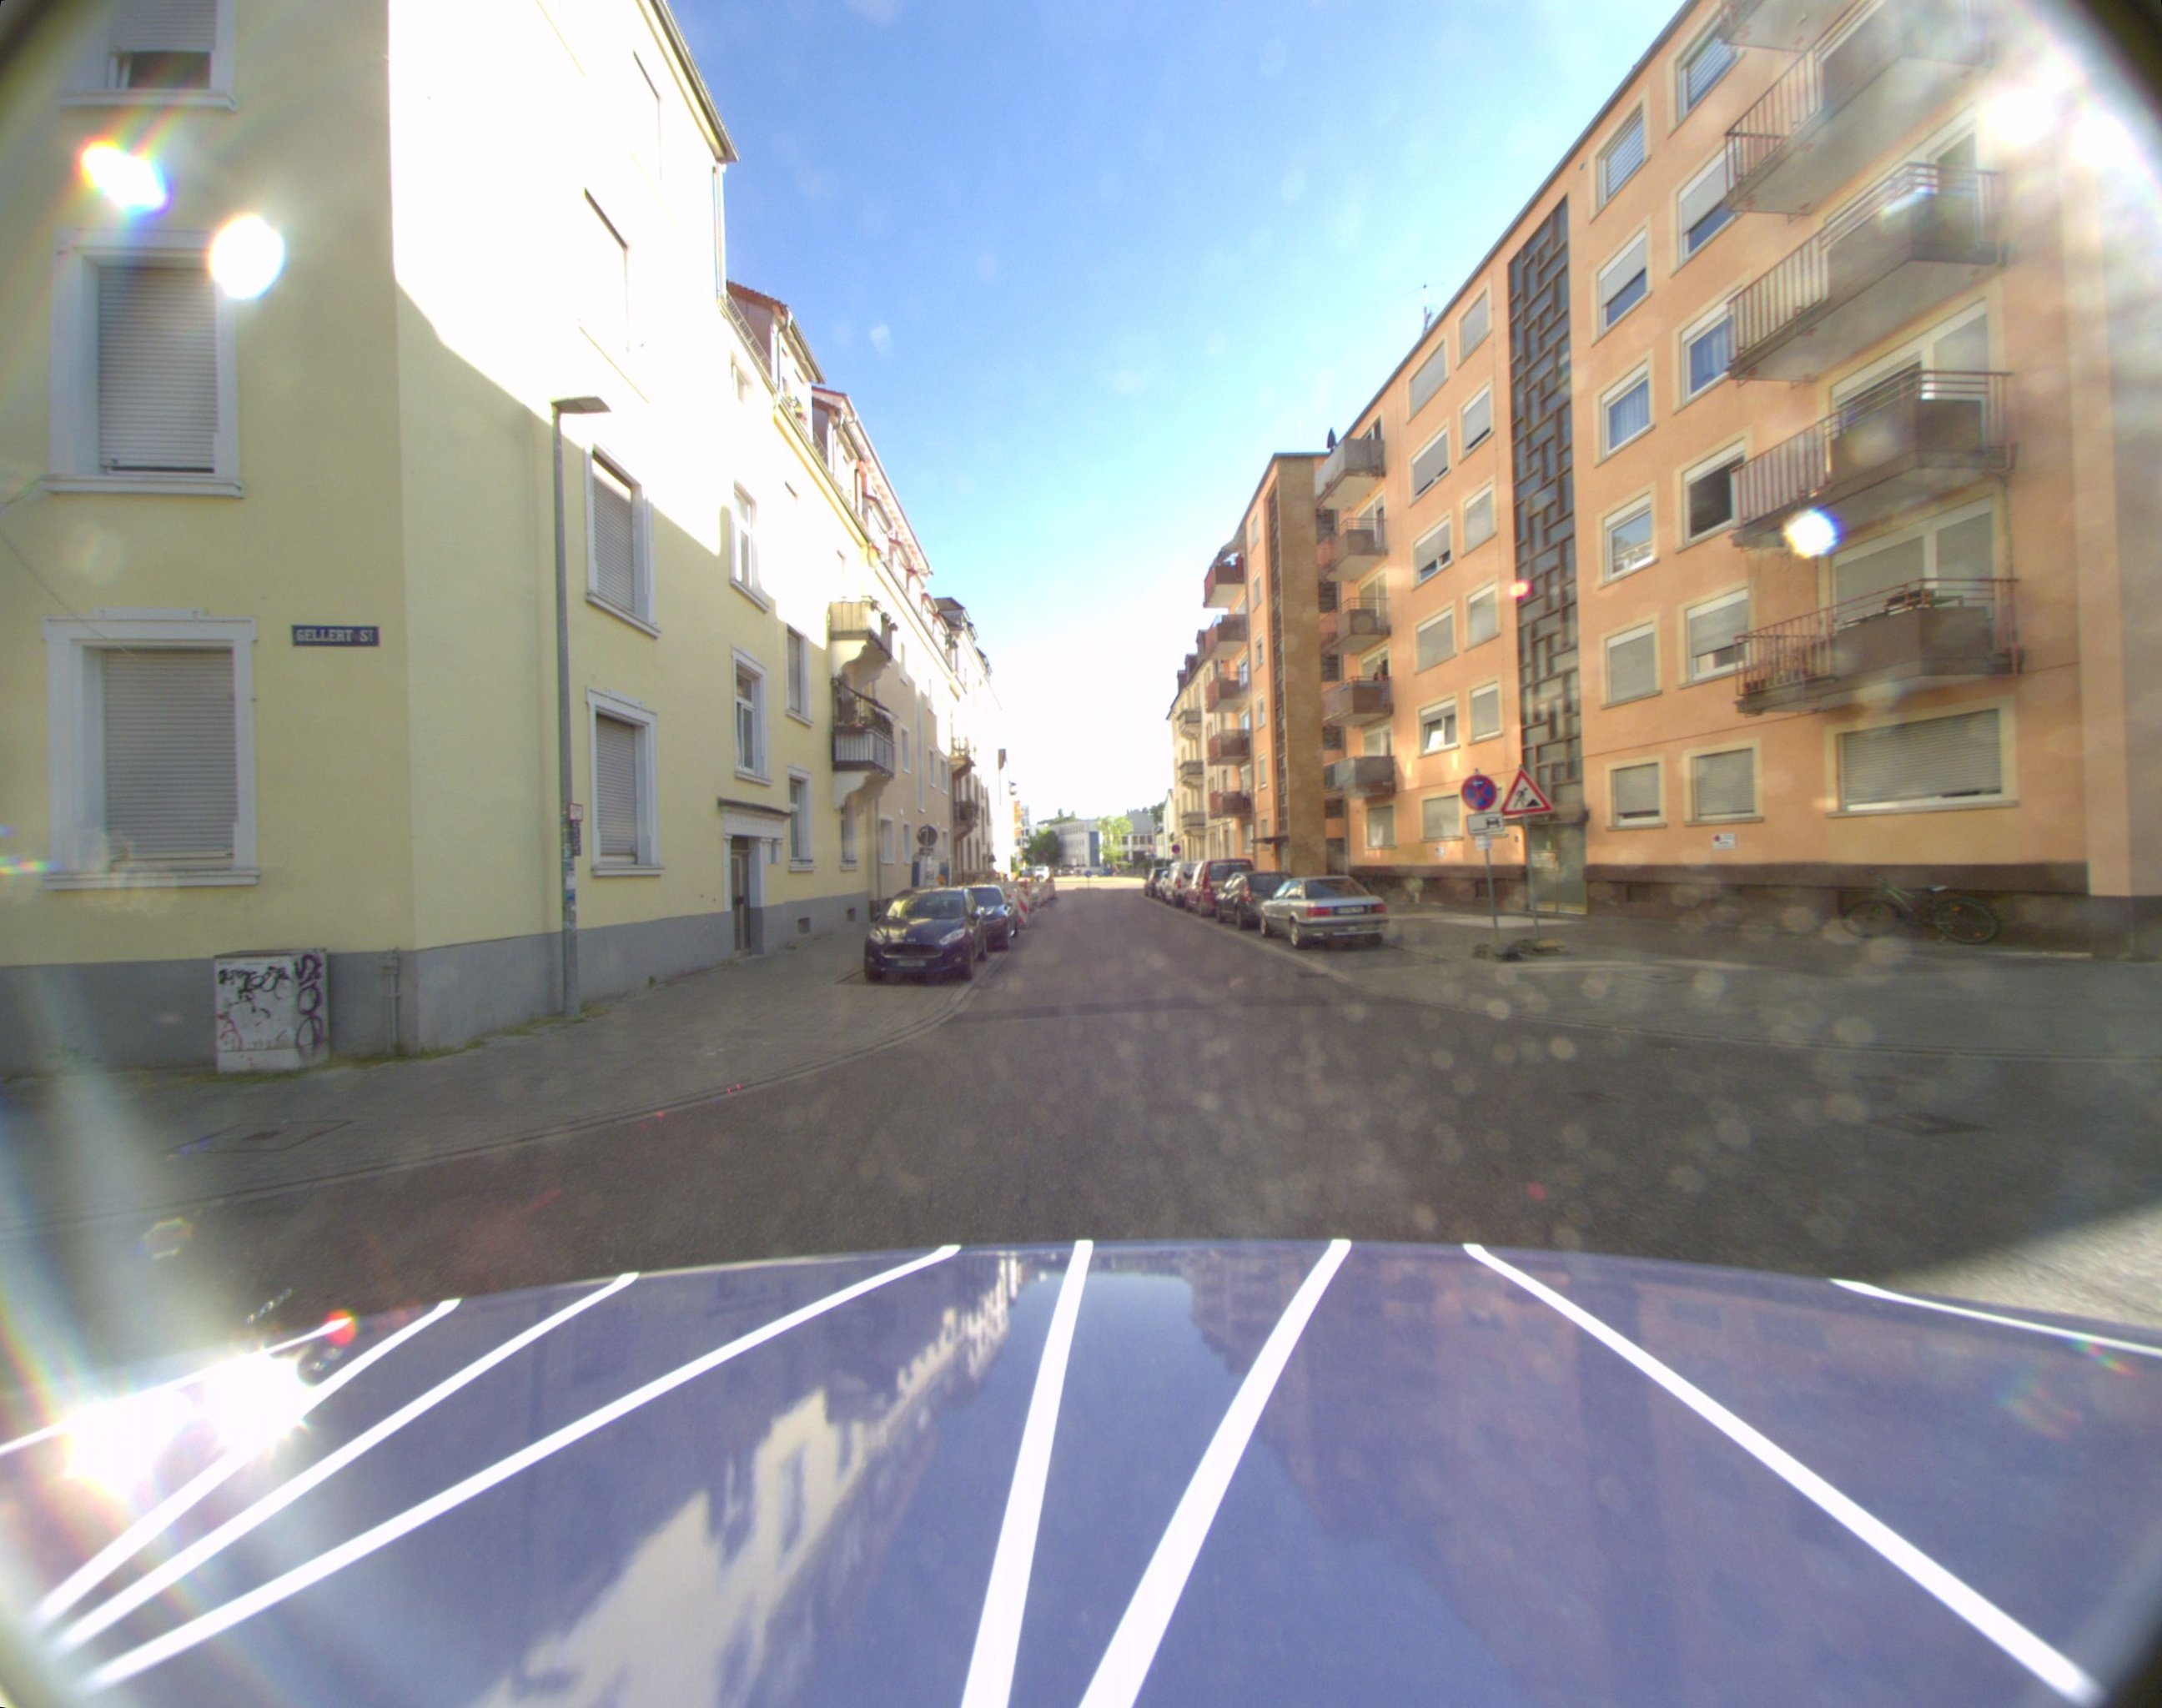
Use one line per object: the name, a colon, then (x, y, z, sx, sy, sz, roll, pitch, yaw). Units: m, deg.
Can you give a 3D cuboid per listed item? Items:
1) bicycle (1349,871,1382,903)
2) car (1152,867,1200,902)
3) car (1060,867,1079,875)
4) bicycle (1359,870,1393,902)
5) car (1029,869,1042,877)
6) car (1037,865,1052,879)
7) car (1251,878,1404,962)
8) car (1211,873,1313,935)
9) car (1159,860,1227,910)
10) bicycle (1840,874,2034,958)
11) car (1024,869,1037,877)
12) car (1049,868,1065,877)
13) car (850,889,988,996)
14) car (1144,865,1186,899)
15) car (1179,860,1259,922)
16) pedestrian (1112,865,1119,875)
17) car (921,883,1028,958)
bicycle: (10.282, 1.159, 27.493, 0.342, 1.107, 1.762, -2, -1, -6)
car: (4.723, 1.477, 38.327, 1.767, 1.611, 4.295, -2, -1, -1)
car: (-2.444, 3.437, 153.612, 2.141, 1.604, 4.827, -3, 0, -23)
bicycle: (10.667, 1.143, 27.545, 0.342, 1.107, 1.762, -2, -1, -6)
car: (-8.800, 3.651, 145.649, 1.760, 1.445, 3.995, 2, -2, -15)
car: (-5.769, 2.810, 119.877, 1.998, 2.001, 4.798, 1, -1, 1)
car: (5.003, 1.267, 16.121, 1.767, 1.369, 4.478, -3, -1, 0)
car: (4.899, 1.315, 21.110, 1.767, 1.493, 4.000, -1, -1, -2)
car: (4.702, 1.266, 32.730, 1.980, 1.913, 5.309, -2, -1, -1)
bicycle: (12.248, 0.841, 10.976, 0.505, 1.057, 1.892, -4, -1, -5)
car: (-9.964, 3.751, 149.998, 1.760, 1.445, 3.995, 2, -2, -16)
car: (-4.750, 3.759, 151.111, 1.882, 1.685, 4.267, -1, -2, -21)
car: (-2.645, 1.409, 13.319, 1.768, 1.462, 4.084, 1, -1, -4)
car: (4.678, 1.537, 42.987, 1.767, 1.760, 4.294, -2, -1, -1)
car: (4.747, 1.225, 26.834, 1.767, 1.913, 4.935, -2, -1, -1)
pedestrian: (5.839, 2.685, 128.604, 0.820, 1.695, 0.996, -2, 0, -16)
car: (-2.438, 1.513, 18.638, 1.805, 1.462, 5.113, 1, -1, 1)
